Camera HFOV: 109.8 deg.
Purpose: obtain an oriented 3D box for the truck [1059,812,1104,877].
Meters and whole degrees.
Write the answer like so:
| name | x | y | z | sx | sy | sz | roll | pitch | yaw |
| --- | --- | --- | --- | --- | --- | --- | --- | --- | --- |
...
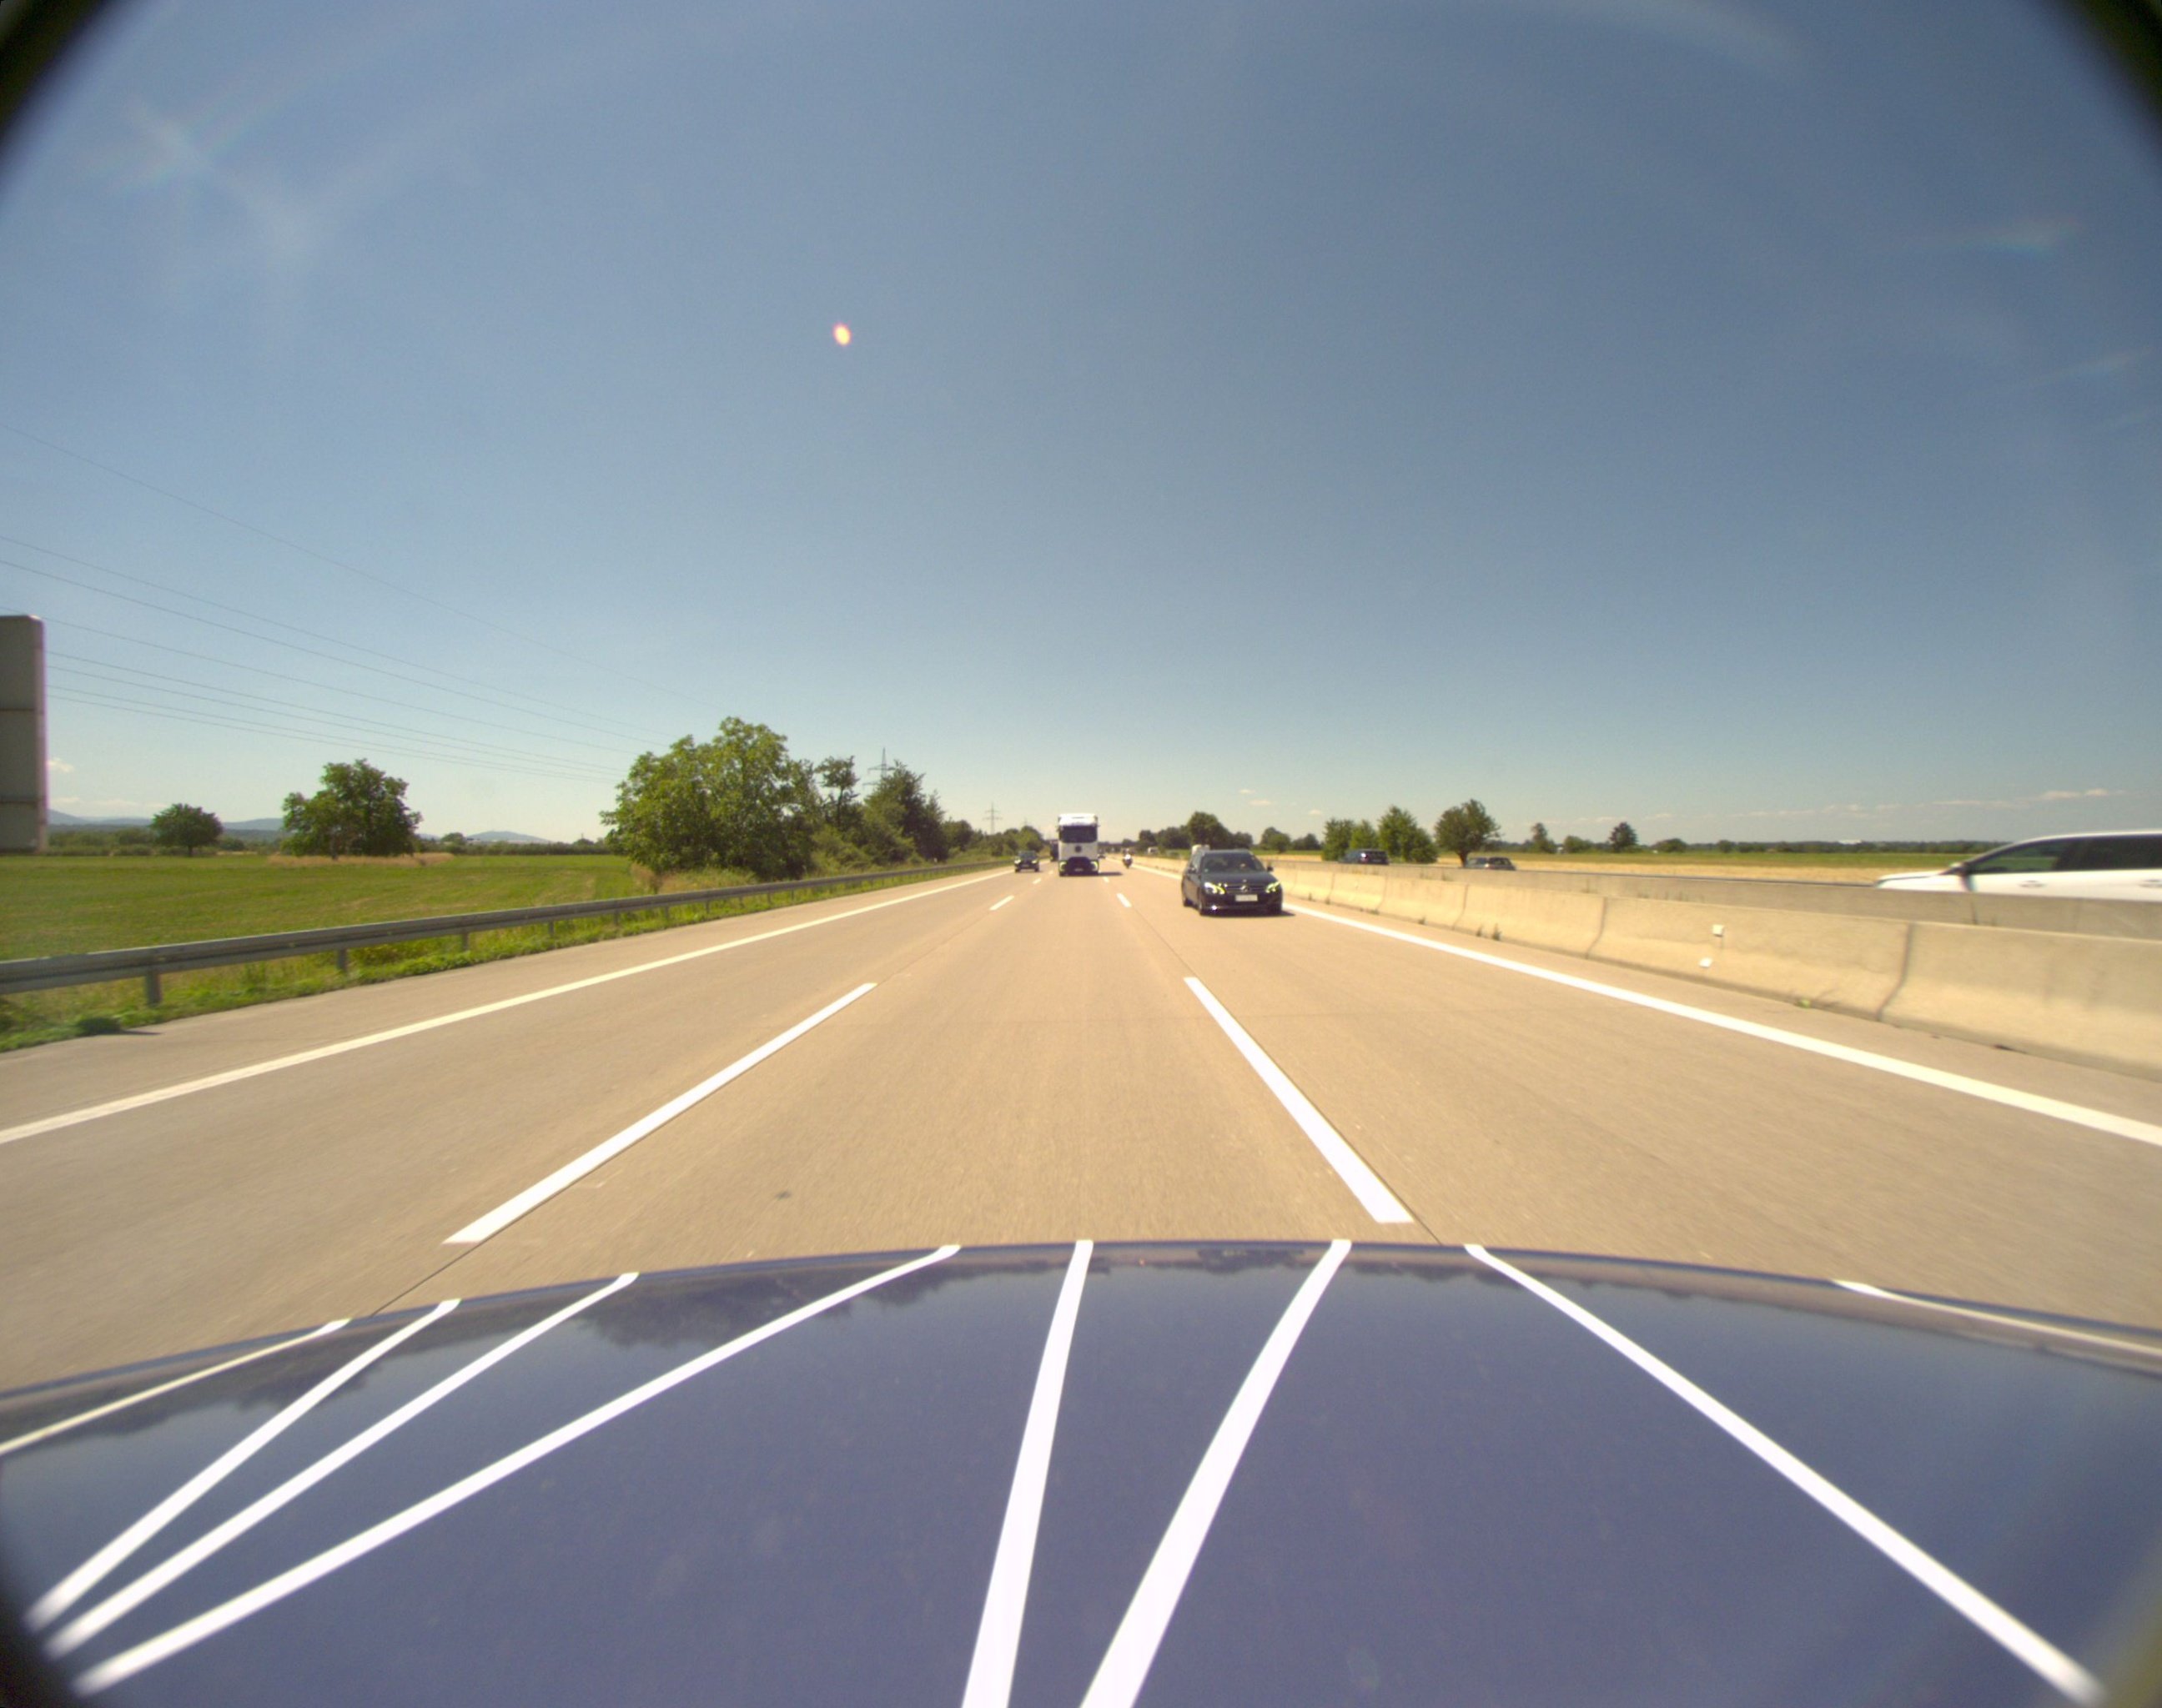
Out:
| name | x | y | z | sx | sy | sz | roll | pitch | yaw |
| --- | --- | --- | --- | --- | --- | --- | --- | --- | --- |
| truck | 0.008 | -0.570 | 48.515 | 2.587 | 3.855 | 4.983 | -2 | 1 | 0 |

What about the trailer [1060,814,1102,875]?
| name | x | y | z | sx | sy | sz | roll | pitch | yaw |
| --- | --- | --- | --- | --- | --- | --- | --- | --- | --- |
| trailer | -0.011 | -0.631 | 53.839 | 2.587 | 3.855 | 10.371 | -2 | 0 | 0 |

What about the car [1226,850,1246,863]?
| name | x | y | z | sx | sy | sz | roll | pitch | yaw |
| --- | --- | --- | --- | --- | --- | --- | --- | --- | --- |
| car | 20.974 | 0.275 | 102.693 | 1.758 | 1.674 | 4.842 | -2 | 0 | 1 |

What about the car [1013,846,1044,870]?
| name | x | y | z | sx | sy | sz | roll | pitch | yaw |
| --- | --- | --- | --- | --- | --- | --- | --- | --- | --- |
| car | -4.248 | 0.302 | 62.023 | 1.998 | 1.772 | 4.000 | -2 | 0 | 2 |

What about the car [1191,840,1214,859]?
| name | x | y | z | sx | sy | sz | roll | pitch | yaw |
| --- | --- | --- | --- | --- | --- | --- | --- | --- | --- |
| car | 17.120 | -0.651 | 107.363 | 2.218 | 2.505 | 6.124 | -2 | 0 | 0 |

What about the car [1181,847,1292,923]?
| name | x | y | z | sx | sy | sz | roll | pitch | yaw |
| --- | --- | --- | --- | --- | --- | --- | --- | --- | --- |
| car | 3.600 | 0.647 | 18.268 | 1.848 | 1.576 | 3.939 | -2 | 0 | 0 |

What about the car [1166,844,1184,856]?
| name | x | y | z | sx | sy | sz | roll | pitch | yaw |
| --- | --- | --- | --- | --- | --- | --- | --- | --- | --- |
| car | 13.114 | -0.547 | 106.378 | 1.998 | 1.608 | 4.588 | -2 | 0 | 2 |

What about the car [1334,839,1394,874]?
| name | x | y | z | sx | sy | sz | roll | pitch | yaw |
| --- | --- | --- | --- | --- | --- | --- | --- | --- | --- |
| car | 16.638 | 0.150 | 44.882 | 1.998 | 1.903 | 4.402 | -2 | 0 | 2 |

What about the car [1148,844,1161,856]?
| name | x | y | z | sx | sy | sz | roll | pitch | yaw |
| --- | --- | --- | --- | --- | --- | --- | --- | --- | --- |
| car | 17.445 | -1.003 | 180.574 | 2.269 | 2.772 | 7.070 | -2 | 0 | 0 |

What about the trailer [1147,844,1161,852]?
| name | x | y | z | sx | sy | sz | roll | pitch | yaw |
| --- | --- | --- | --- | --- | --- | --- | --- | --- | --- |
| trailer | 17.464 | -1.394 | 182.425 | 2.243 | 1.735 | 10.543 | 1 | 0 | 0 |

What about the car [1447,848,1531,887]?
| name | x | y | z | sx | sy | sz | roll | pitch | yaw |
| --- | --- | --- | --- | --- | --- | --- | --- | --- | --- |
| car | 20.112 | 0.612 | 37.679 | 1.998 | 1.772 | 4.000 | -2 | 0 | 1 |

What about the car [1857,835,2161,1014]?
| name | x | y | z | sx | sy | sz | roll | pitch | yaw |
| --- | --- | --- | --- | --- | --- | --- | --- | --- | --- |
| car | 12.275 | 0.722 | 9.090 | 1.911 | 1.849 | 4.000 | -2 | 0 | 0 |

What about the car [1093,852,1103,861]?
| name | x | y | z | sx | sy | sz | roll | pitch | yaw |
| --- | --- | --- | --- | --- | --- | --- | --- | --- | --- |
| car | 3.384 | 0.464 | 152.520 | 1.998 | 1.781 | 4.300 | -2 | 0 | 0 |
